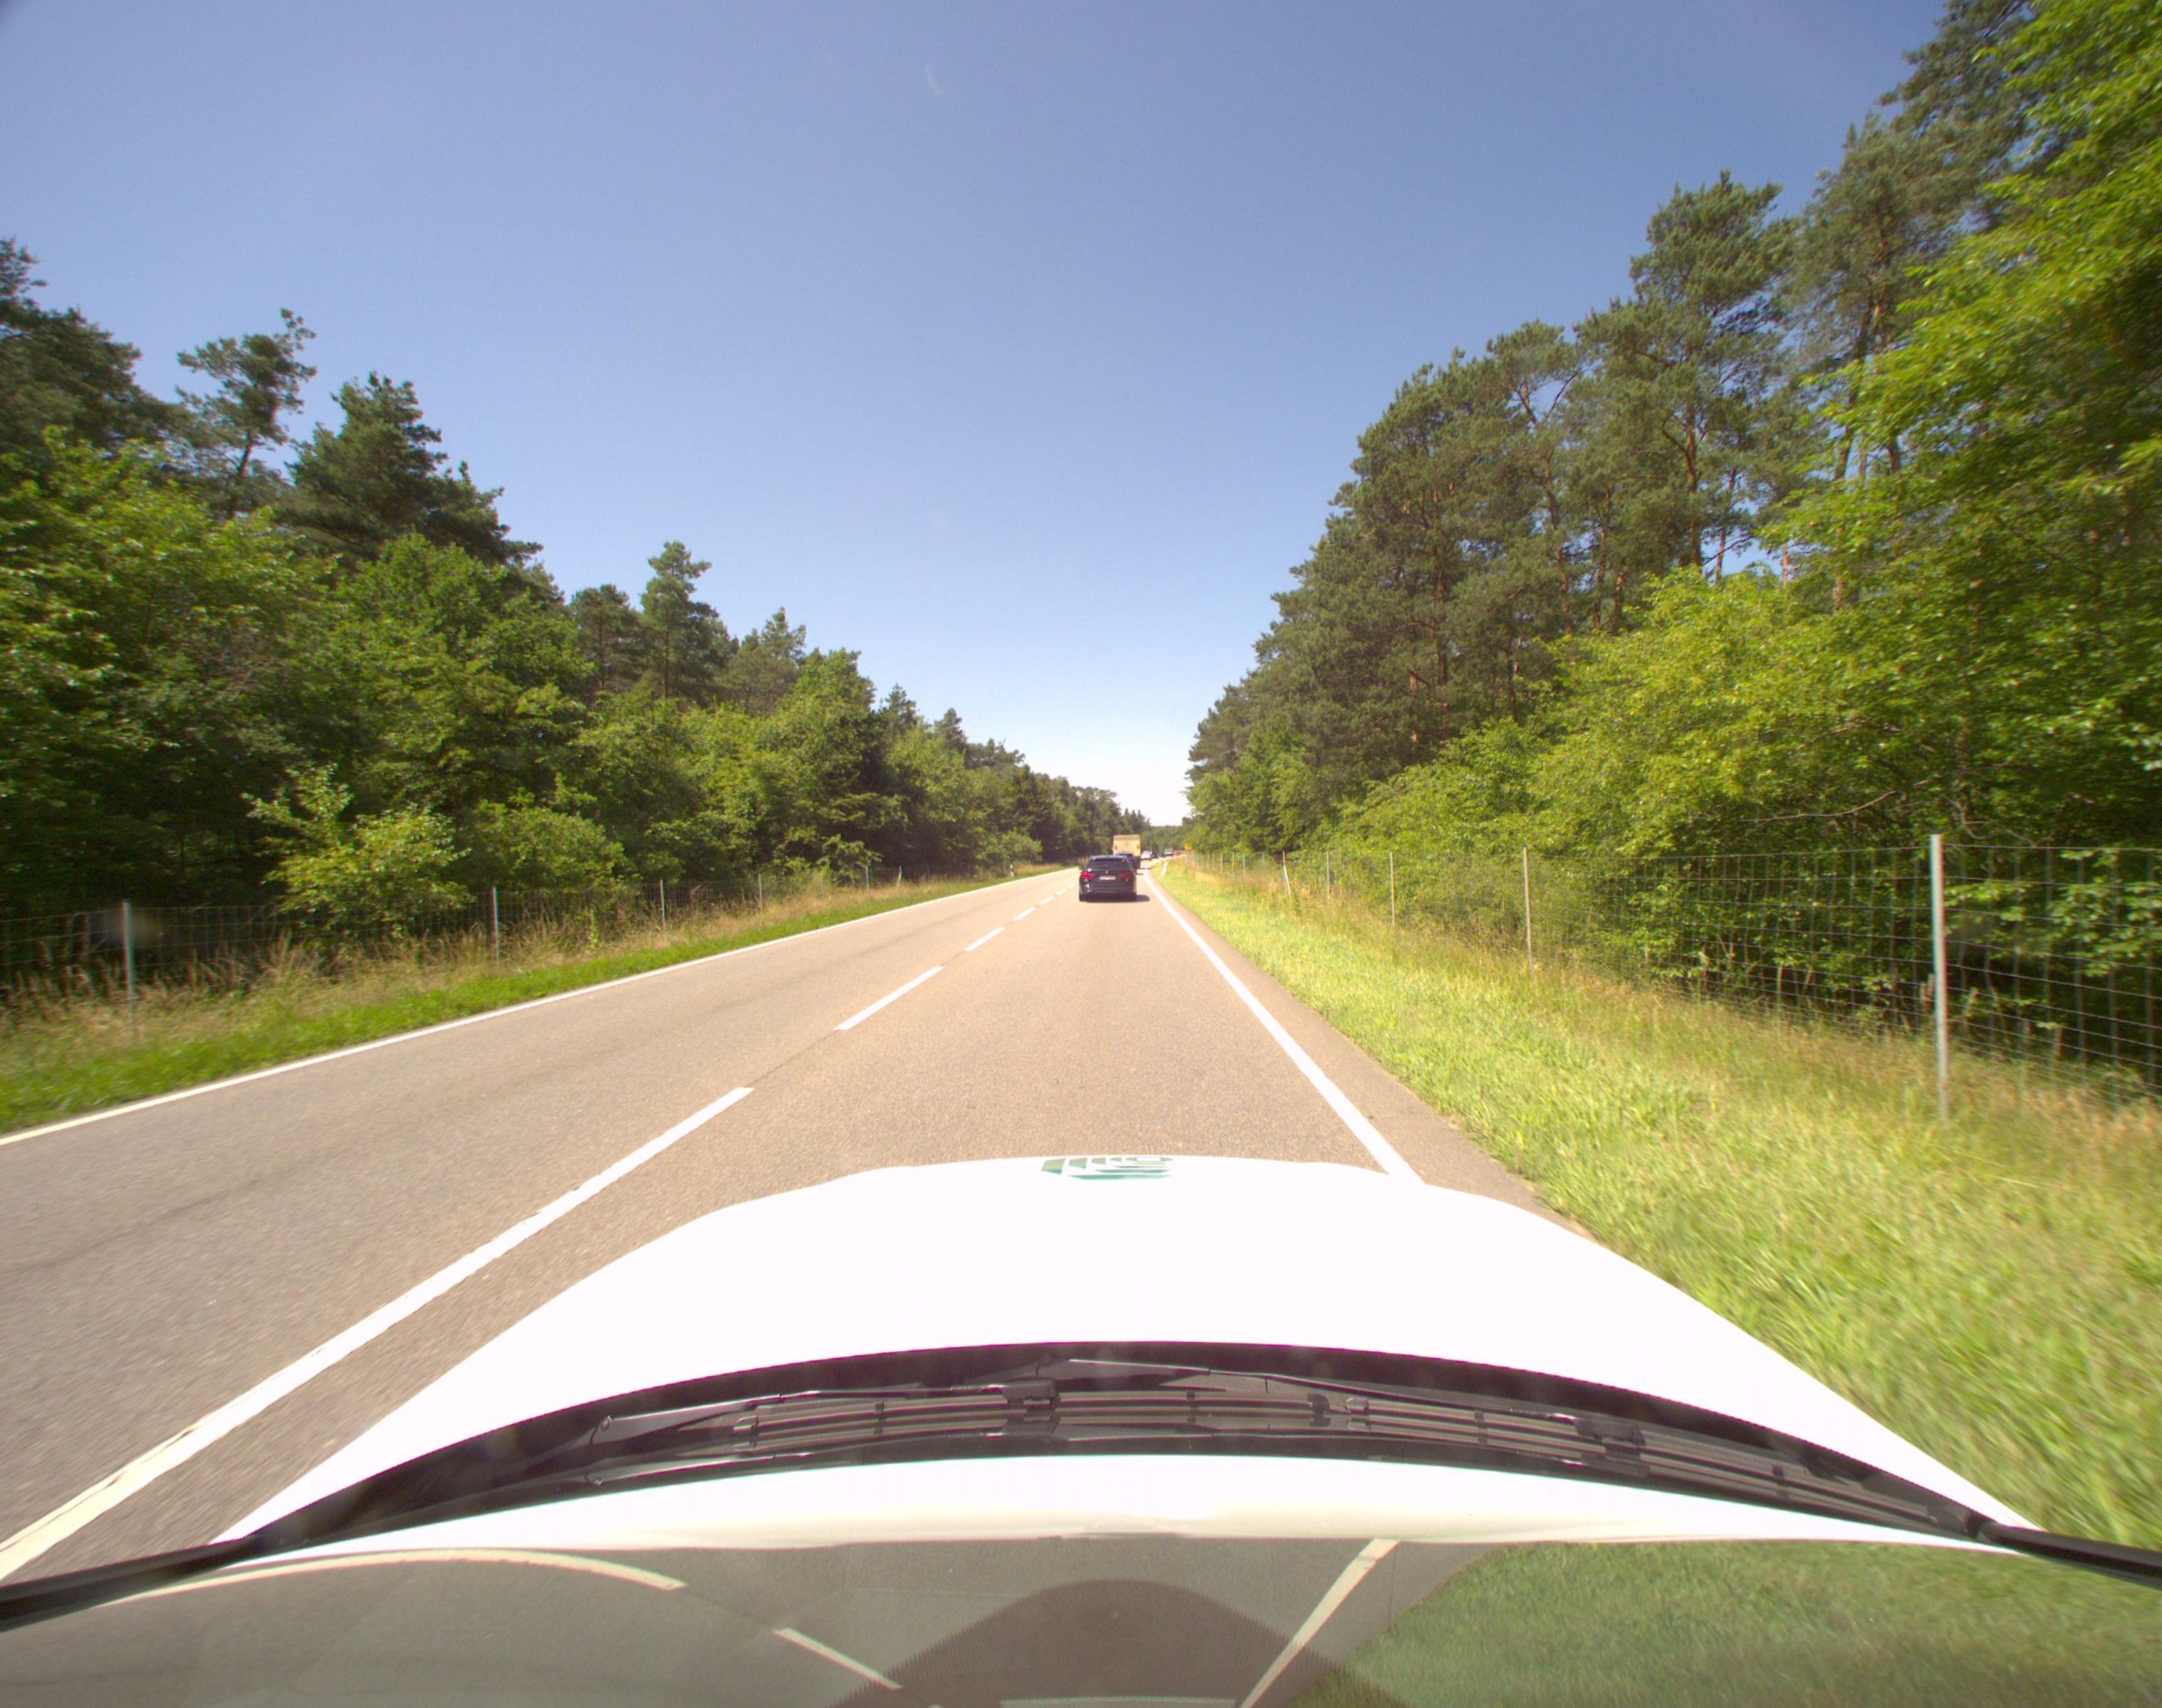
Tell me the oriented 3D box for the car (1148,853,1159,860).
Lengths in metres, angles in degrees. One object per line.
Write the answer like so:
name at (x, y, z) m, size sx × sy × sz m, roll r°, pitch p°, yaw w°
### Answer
car at (15.810, 0.488, 177.555) m, size 1.986 × 1.420 × 4.002 m, roll -1°, pitch 0°, yaw 2°

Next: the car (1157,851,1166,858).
car at (20.360, 0.197, 205.685) m, size 1.984 × 1.636 × 4.005 m, roll -3°, pitch 0°, yaw 5°

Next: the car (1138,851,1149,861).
car at (11.233, 0.316, 145.286) m, size 1.854 × 1.605 × 4.005 m, roll -2°, pitch 0°, yaw 5°

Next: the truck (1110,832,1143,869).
truck at (4.472, -0.366, 79.604) m, size 2.953 × 3.387 × 6.444 m, roll -2°, pitch 0°, yaw 3°

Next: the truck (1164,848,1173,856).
truck at (24.760, -0.514, 230.694) m, size 2.550 × 2.202 × 4.984 m, roll -2°, pitch 0°, yaw 7°

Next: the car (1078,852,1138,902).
car at (0.839, 0.712, 27.161) m, size 1.815 × 1.470 × 3.999 m, roll -2°, pitch 0°, yaw 0°

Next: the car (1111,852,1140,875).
car at (3.223, 0.665, 59.084) m, size 1.939 × 1.541 × 4.003 m, roll -3°, pitch 0°, yaw 3°
